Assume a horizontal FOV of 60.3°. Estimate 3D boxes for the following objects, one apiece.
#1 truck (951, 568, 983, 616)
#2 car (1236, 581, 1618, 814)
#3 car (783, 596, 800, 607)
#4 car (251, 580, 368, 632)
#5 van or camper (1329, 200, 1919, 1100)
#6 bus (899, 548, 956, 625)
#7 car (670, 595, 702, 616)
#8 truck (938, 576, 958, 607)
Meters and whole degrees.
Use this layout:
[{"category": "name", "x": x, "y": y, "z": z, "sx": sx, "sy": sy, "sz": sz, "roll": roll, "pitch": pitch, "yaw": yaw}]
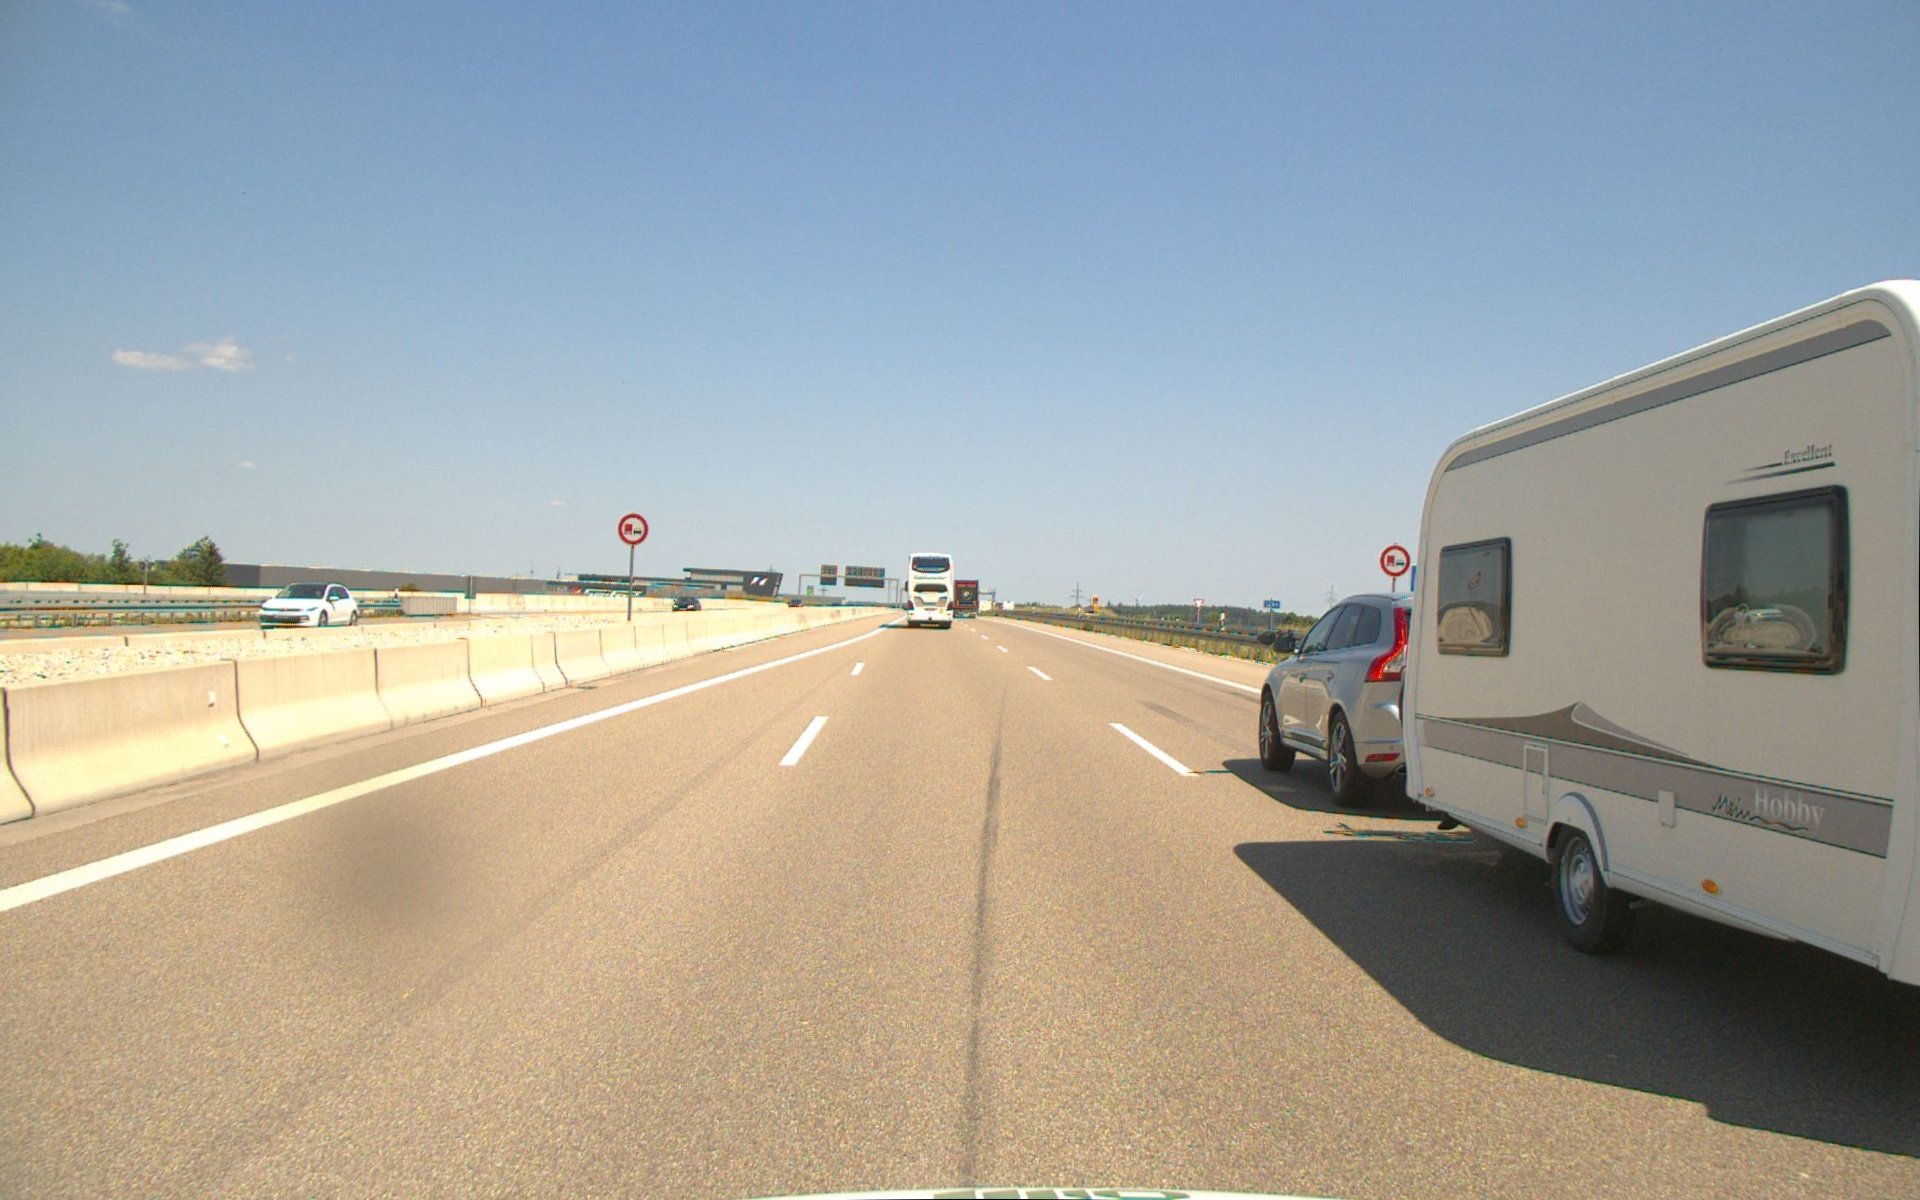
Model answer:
[{"category": "truck", "x": 0.782, "y": -0.816, "z": 184.344, "sx": 3.310, "sy": 4.542, "sz": 13.564, "roll": 2, "pitch": -3, "yaw": 0}, {"category": "car", "x": 3.791, "y": 0.697, "z": 14.410, "sx": 1.842, "sy": 1.651, "sz": 4.903, "roll": 1, "pitch": 0, "yaw": -1}, {"category": "car", "x": -23.295, "y": 0.176, "z": 228.562, "sx": 1.872, "sy": 1.445, "sz": 4.549, "roll": 1, "pitch": 0, "yaw": -1}, {"category": "car", "x": -19.432, "y": 0.168, "z": 49.605, "sx": 1.773, "sy": 1.460, "sz": 4.441, "roll": 1, "pitch": 0, "yaw": -1}, {"category": "van or camper", "x": 3.986, "y": 0.137, "z": 8.054, "sx": 2.461, "sy": 2.638, "sz": 7.815, "roll": 1, "pitch": 0, "yaw": -1}, {"category": "bus", "x": -1.920, "y": -0.744, "z": 94.019, "sx": 2.920, "sy": 4.044, "sz": 9.100, "roll": 1, "pitch": 0, "yaw": -2}, {"category": "car", "x": -20.881, "y": 0.389, "z": 126.224, "sx": 1.697, "sy": 1.563, "sz": 4.547, "roll": 1, "pitch": 0, "yaw": -1}, {"category": "truck", "x": -1.564, "y": -1.051, "z": 213.820, "sx": 2.388, "sy": 3.855, "sz": 6.490, "roll": 1, "pitch": 0, "yaw": -2}]
